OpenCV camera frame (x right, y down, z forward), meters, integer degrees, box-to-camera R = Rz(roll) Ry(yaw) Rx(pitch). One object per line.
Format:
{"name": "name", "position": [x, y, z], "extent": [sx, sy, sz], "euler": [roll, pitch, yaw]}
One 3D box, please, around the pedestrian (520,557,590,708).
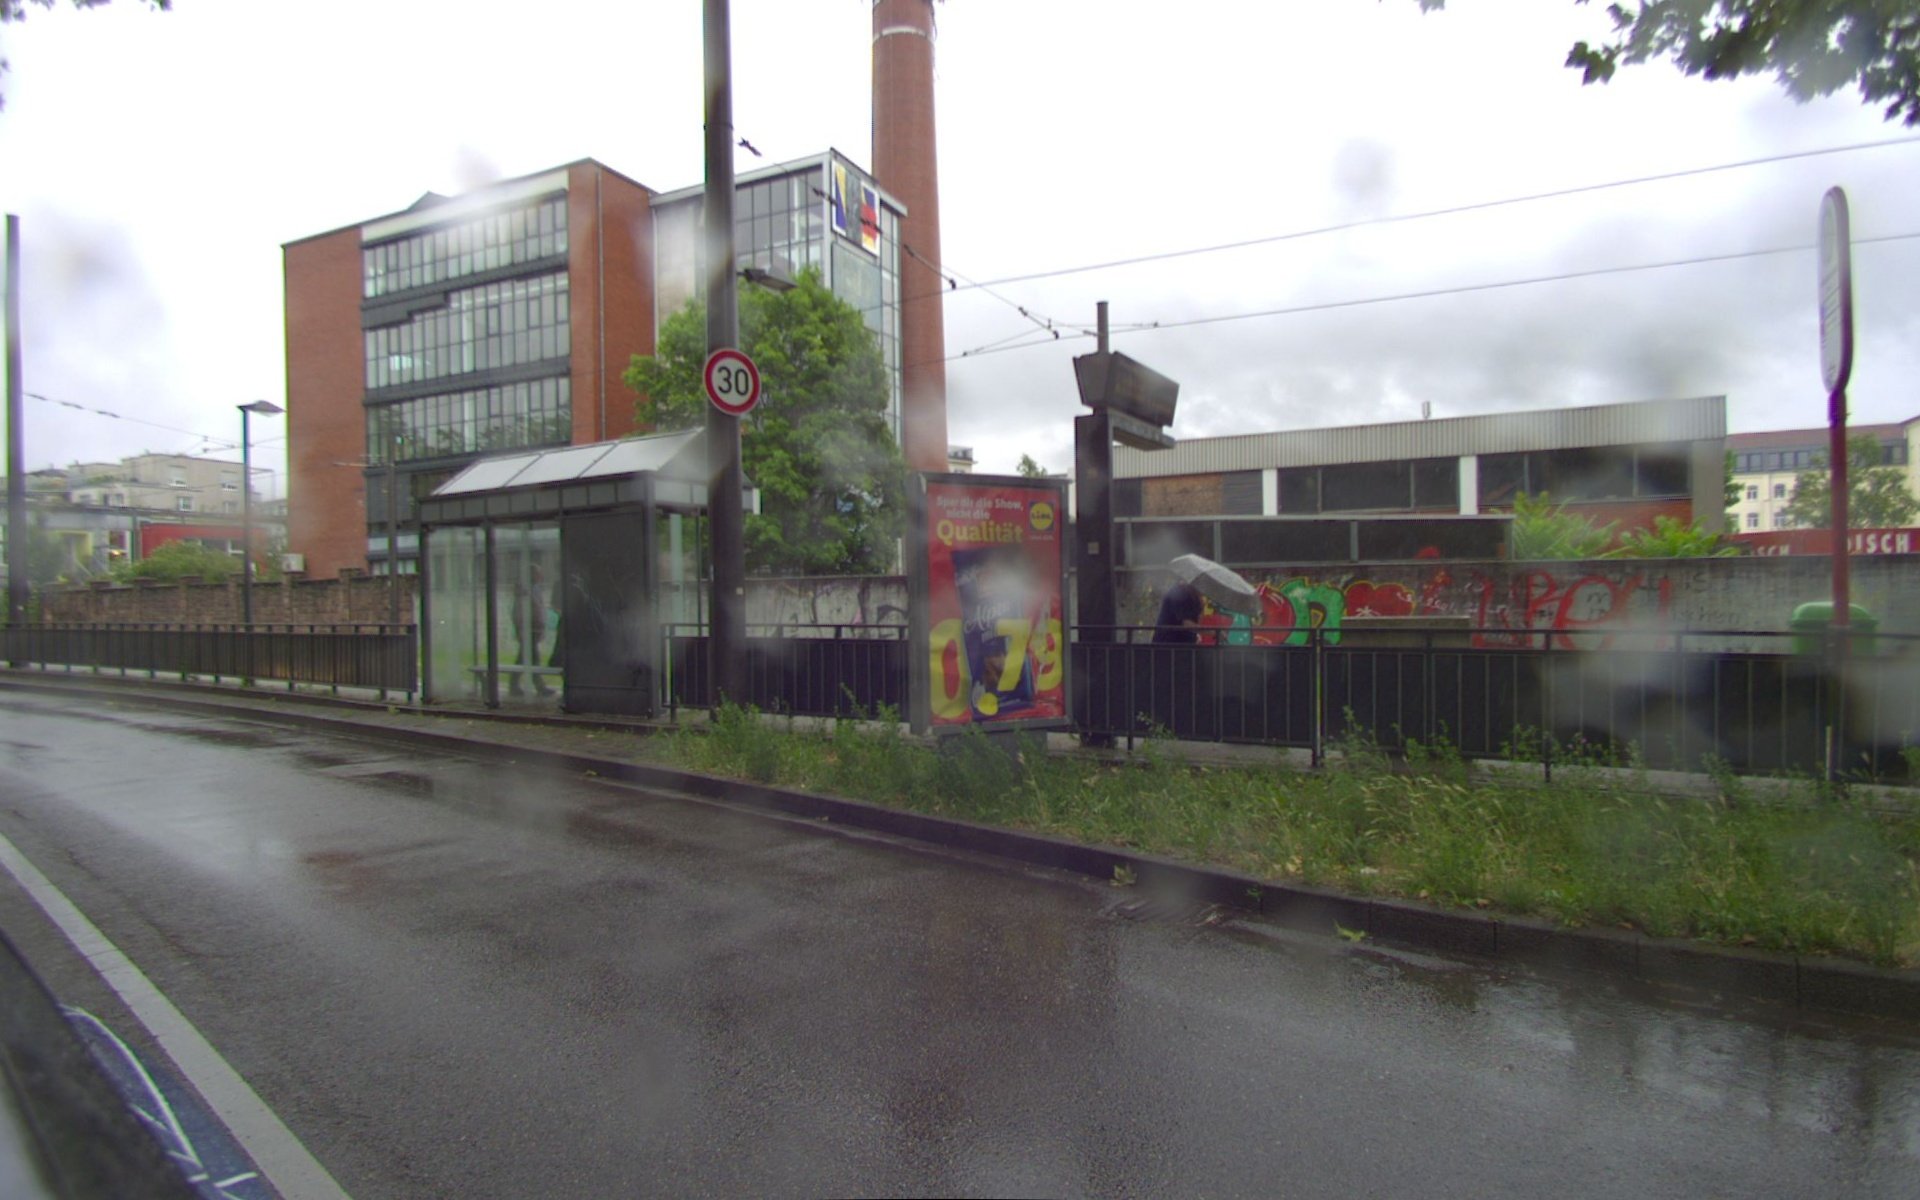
{"name": "pedestrian", "position": [-4.912, 0.379, 12.273], "extent": [0.620, 1.762, 0.565], "euler": [-1, 0, -41]}

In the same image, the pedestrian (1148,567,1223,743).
{"name": "pedestrian", "position": [1.925, 0.447, 8.624], "extent": [0.492, 1.438, 0.606], "euler": [-1, 0, 25]}

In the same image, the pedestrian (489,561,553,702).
{"name": "pedestrian", "position": [-5.669, 0.389, 13.065], "extent": [0.620, 1.762, 0.515], "euler": [-1, 0, -41]}
